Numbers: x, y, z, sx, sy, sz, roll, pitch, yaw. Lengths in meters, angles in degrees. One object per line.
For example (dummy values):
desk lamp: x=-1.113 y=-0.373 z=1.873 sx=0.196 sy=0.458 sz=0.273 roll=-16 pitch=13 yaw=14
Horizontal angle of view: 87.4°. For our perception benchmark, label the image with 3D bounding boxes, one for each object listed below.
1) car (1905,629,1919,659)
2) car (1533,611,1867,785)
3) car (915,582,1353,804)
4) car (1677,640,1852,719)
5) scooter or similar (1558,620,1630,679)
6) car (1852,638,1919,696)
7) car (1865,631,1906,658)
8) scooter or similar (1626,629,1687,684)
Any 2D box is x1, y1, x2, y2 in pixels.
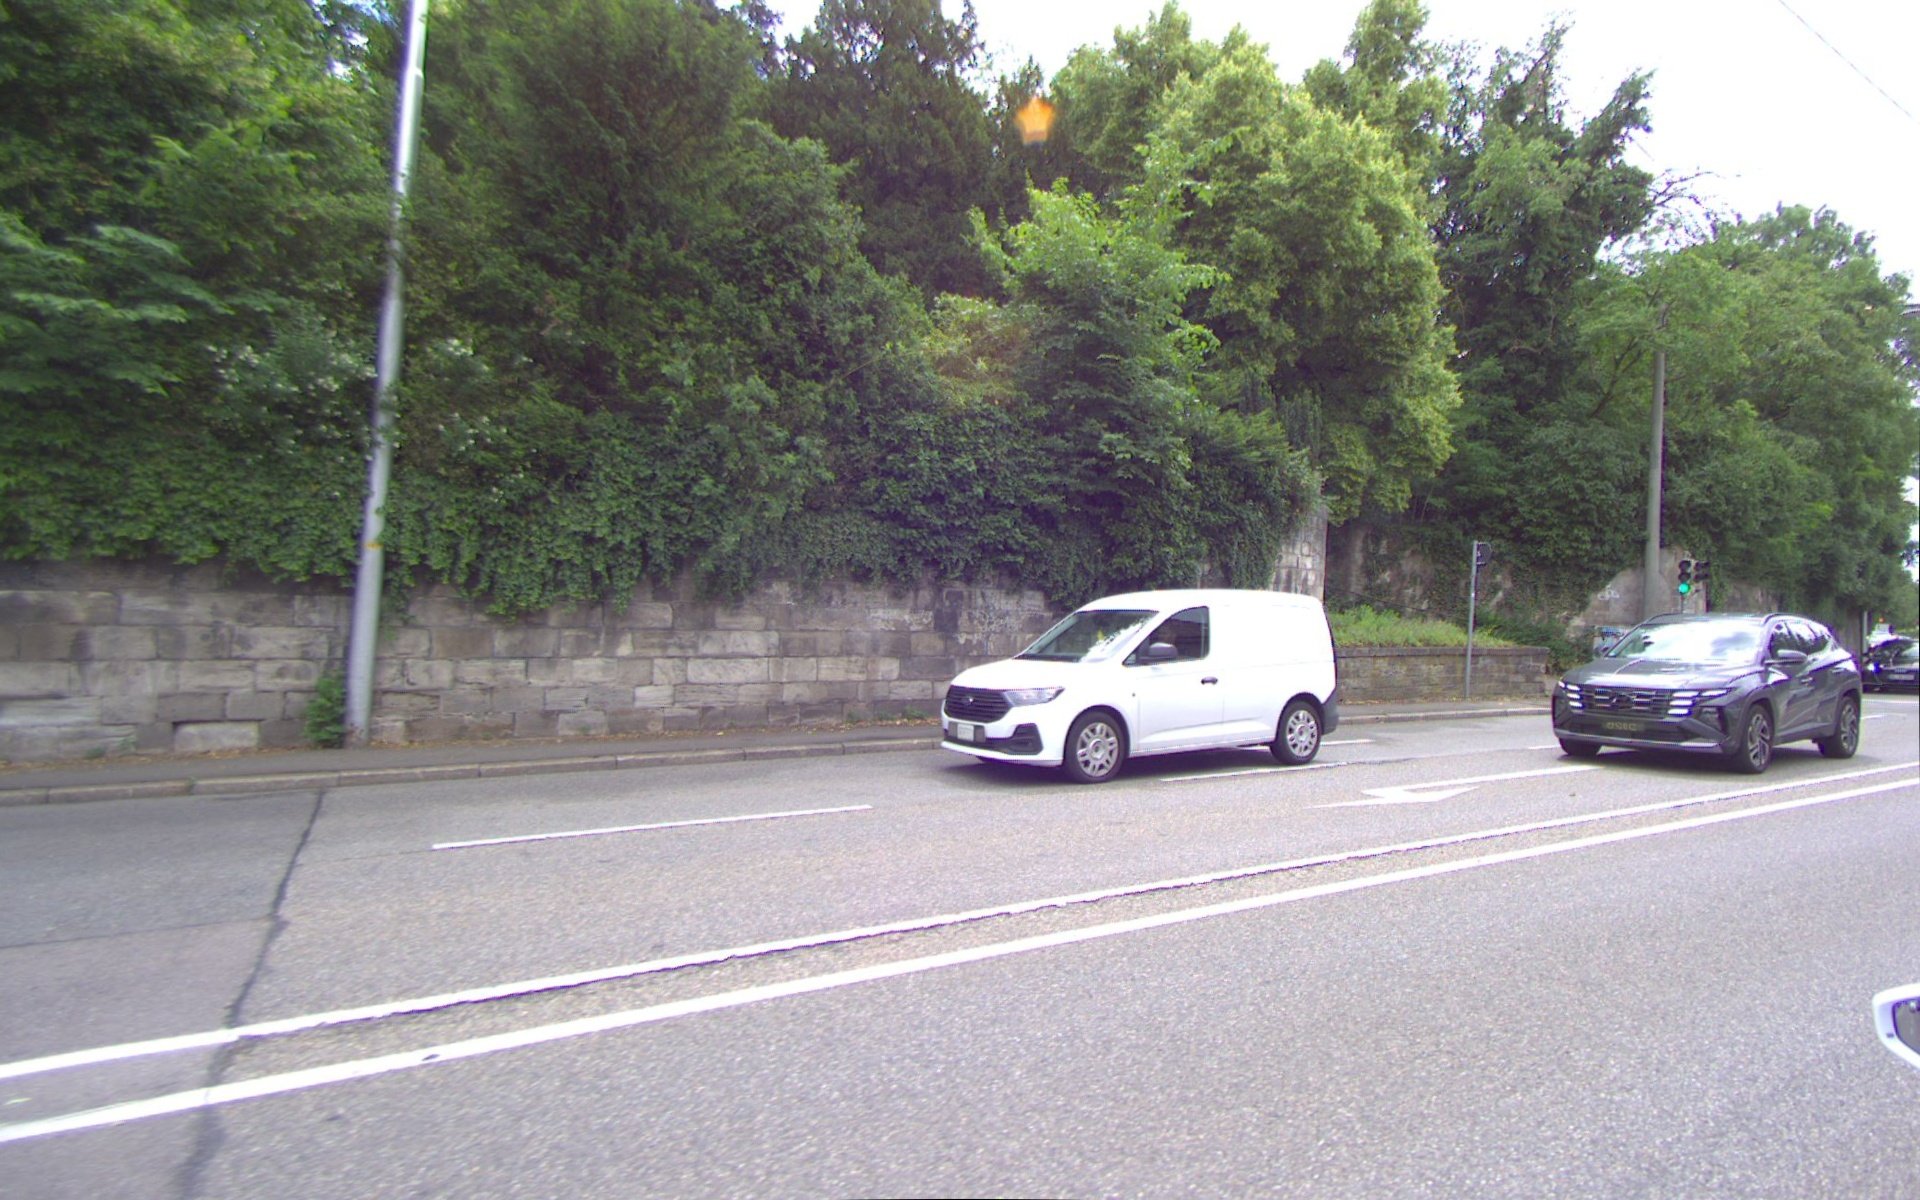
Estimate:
car: x=52.662 y=2.346 z=54.052 sx=1.967 sy=1.629 sz=4.462 roll=-2 pitch=-2 yaw=35
car: x=8.644 y=0.973 z=11.625 sx=4.317 sy=1.654 sz=1.837 roll=1 pitch=0 yaw=-35
car: x=1.885 y=0.840 z=10.452 sx=4.347 sy=1.872 sz=1.883 roll=1 pitch=-1 yaw=-32
car: x=16.639 y=1.574 z=20.723 sx=3.981 sy=1.421 sz=1.705 roll=1 pitch=-2 yaw=-34
scooter or similar: x=15.832 y=1.239 z=25.098 sx=1.324 sy=1.253 sz=0.434 roll=8 pitch=4 yaw=3
car: x=25.779 y=1.752 z=27.007 sx=4.383 sy=1.437 sz=1.672 roll=1 pitch=-2 yaw=-34
car: x=68.718 y=3.285 z=74.547 sx=4.215 sy=1.870 sz=1.729 roll=2 pitch=-1 yaw=-40
scooter or similar: x=17.268 y=1.396 z=24.920 sx=1.076 sy=1.254 sz=0.434 roll=4 pitch=3 yaw=11
